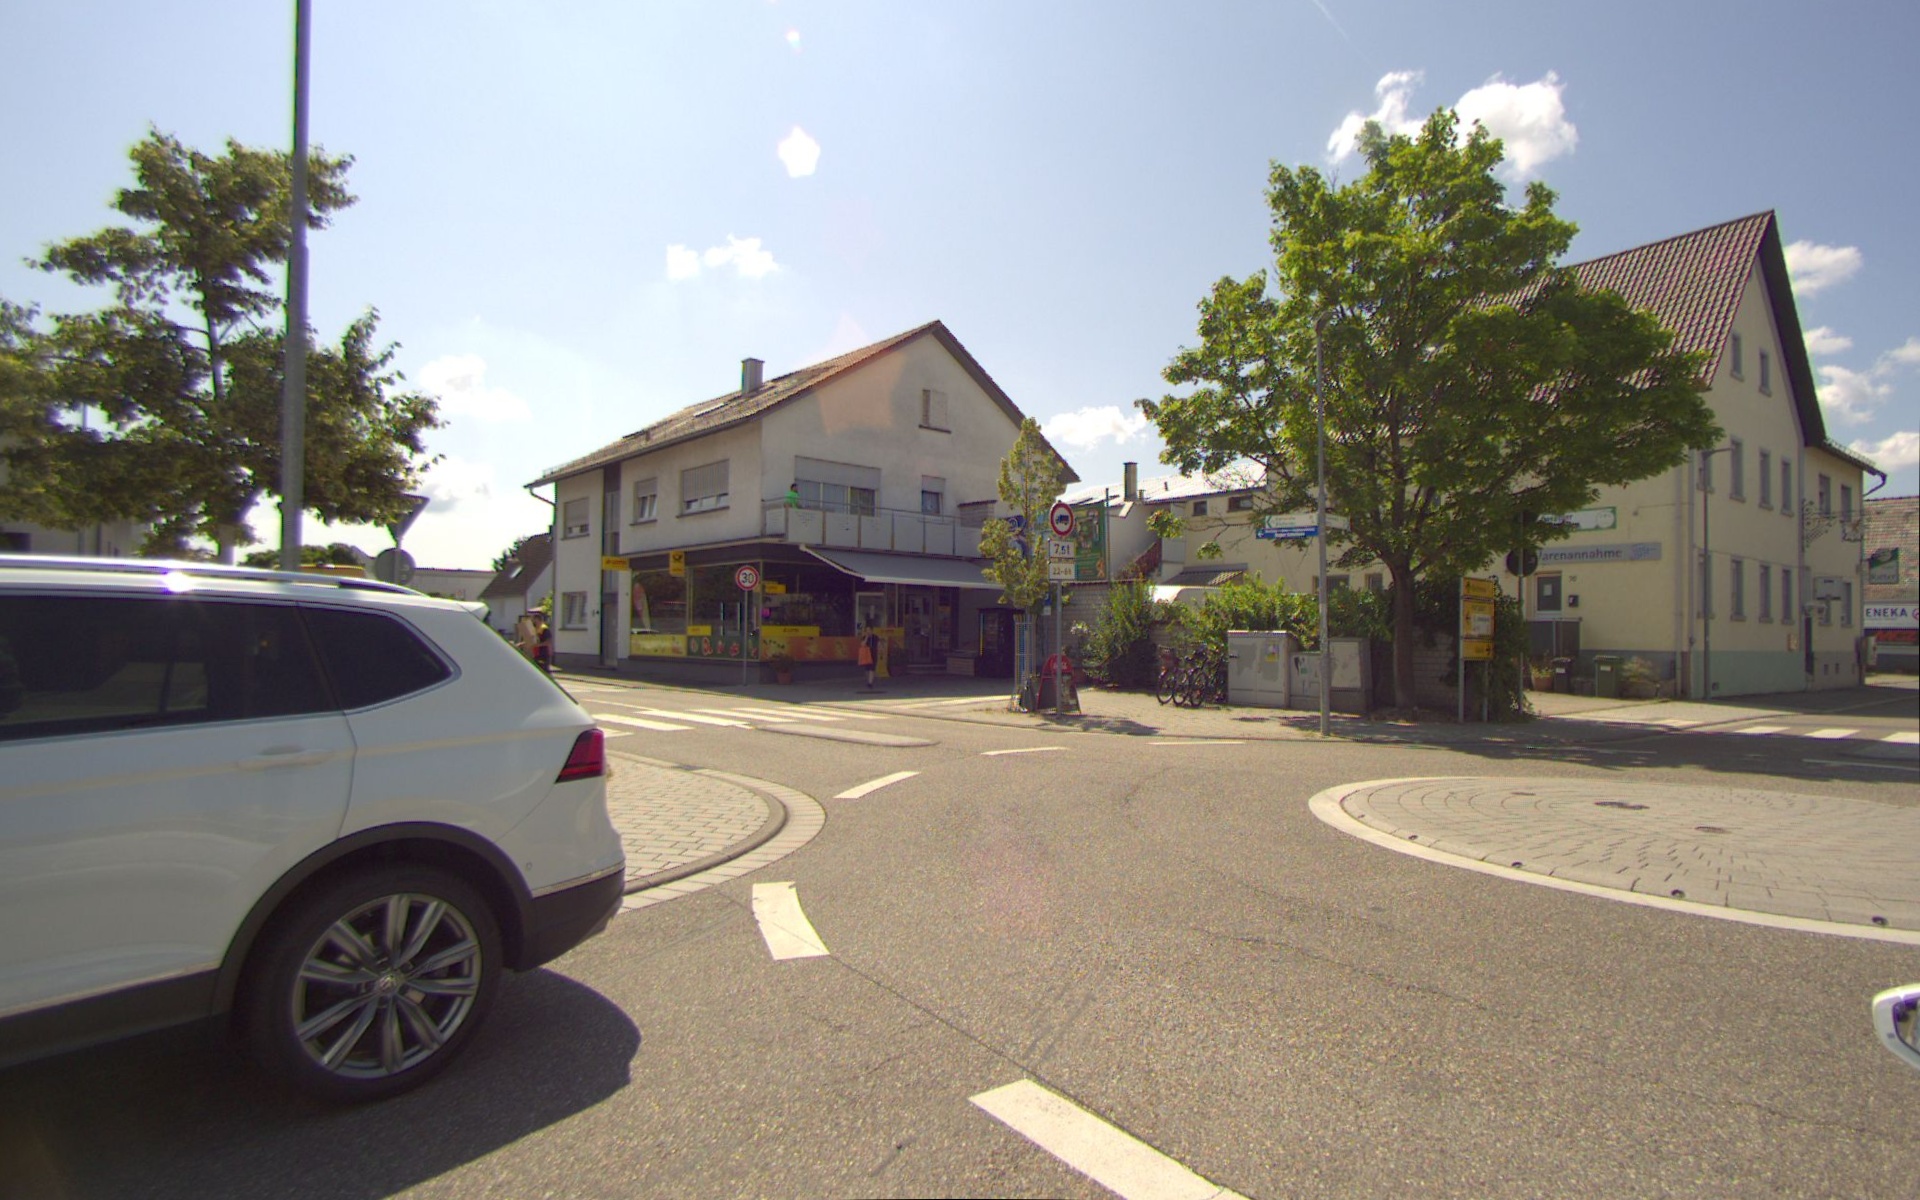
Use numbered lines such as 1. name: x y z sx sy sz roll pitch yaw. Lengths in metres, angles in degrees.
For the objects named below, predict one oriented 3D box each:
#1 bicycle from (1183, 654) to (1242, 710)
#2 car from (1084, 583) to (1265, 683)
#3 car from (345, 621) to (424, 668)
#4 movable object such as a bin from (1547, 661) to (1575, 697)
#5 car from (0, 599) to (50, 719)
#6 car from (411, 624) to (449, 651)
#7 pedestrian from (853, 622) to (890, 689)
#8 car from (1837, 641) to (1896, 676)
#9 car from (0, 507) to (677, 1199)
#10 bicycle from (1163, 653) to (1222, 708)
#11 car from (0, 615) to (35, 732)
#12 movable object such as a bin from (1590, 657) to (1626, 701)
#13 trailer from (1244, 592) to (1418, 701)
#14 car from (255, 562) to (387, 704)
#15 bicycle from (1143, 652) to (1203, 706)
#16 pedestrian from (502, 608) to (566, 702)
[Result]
1. bicycle: 5.221 1.663 20.679 0.395 1.017 1.974 0 0 38
2. car: 6.162 0.927 28.418 5.600 2.601 1.921 2 -1 -39
3. car: -20.432 1.533 35.579 1.864 1.468 4.287 2 -1 -38
4. movable object such as a bin: 16.071 2.108 26.849 0.542 0.940 0.475 2 -2 -37
5. car: -16.203 0.798 14.273 4.712 1.762 1.964 3 -3 -41
6. car: -31.209 2.179 59.195 1.856 1.368 4.386 3 -1 -27
7. pedestrian: -2.191 1.365 24.867 0.735 1.610 0.881 0 -1 7
8. car: 44.990 2.872 49.814 4.167 1.576 1.704 2 -1 -42
9. car: -3.288 0.665 2.832 1.846 1.732 4.516 -3 -4 43
10. bicycle: 4.881 1.653 20.971 0.395 1.017 1.974 0 0 38
11. car: -14.173 0.853 12.001 4.444 1.469 1.814 3 -3 -41
12. movable object such as a bin: 16.841 2.038 26.101 0.652 1.093 0.595 2 -2 -37
13. trailer: 8.915 1.079 23.981 4.485 2.366 1.864 2 -1 -39
14. car: -13.650 0.695 21.359 2.091 2.606 5.630 1 -2 -34
15. bicycle: 4.523 1.641 21.237 0.395 1.017 1.974 0 0 38
16. pedestrian: -8.687 1.090 20.483 1.015 1.850 0.774 0 0 -41
